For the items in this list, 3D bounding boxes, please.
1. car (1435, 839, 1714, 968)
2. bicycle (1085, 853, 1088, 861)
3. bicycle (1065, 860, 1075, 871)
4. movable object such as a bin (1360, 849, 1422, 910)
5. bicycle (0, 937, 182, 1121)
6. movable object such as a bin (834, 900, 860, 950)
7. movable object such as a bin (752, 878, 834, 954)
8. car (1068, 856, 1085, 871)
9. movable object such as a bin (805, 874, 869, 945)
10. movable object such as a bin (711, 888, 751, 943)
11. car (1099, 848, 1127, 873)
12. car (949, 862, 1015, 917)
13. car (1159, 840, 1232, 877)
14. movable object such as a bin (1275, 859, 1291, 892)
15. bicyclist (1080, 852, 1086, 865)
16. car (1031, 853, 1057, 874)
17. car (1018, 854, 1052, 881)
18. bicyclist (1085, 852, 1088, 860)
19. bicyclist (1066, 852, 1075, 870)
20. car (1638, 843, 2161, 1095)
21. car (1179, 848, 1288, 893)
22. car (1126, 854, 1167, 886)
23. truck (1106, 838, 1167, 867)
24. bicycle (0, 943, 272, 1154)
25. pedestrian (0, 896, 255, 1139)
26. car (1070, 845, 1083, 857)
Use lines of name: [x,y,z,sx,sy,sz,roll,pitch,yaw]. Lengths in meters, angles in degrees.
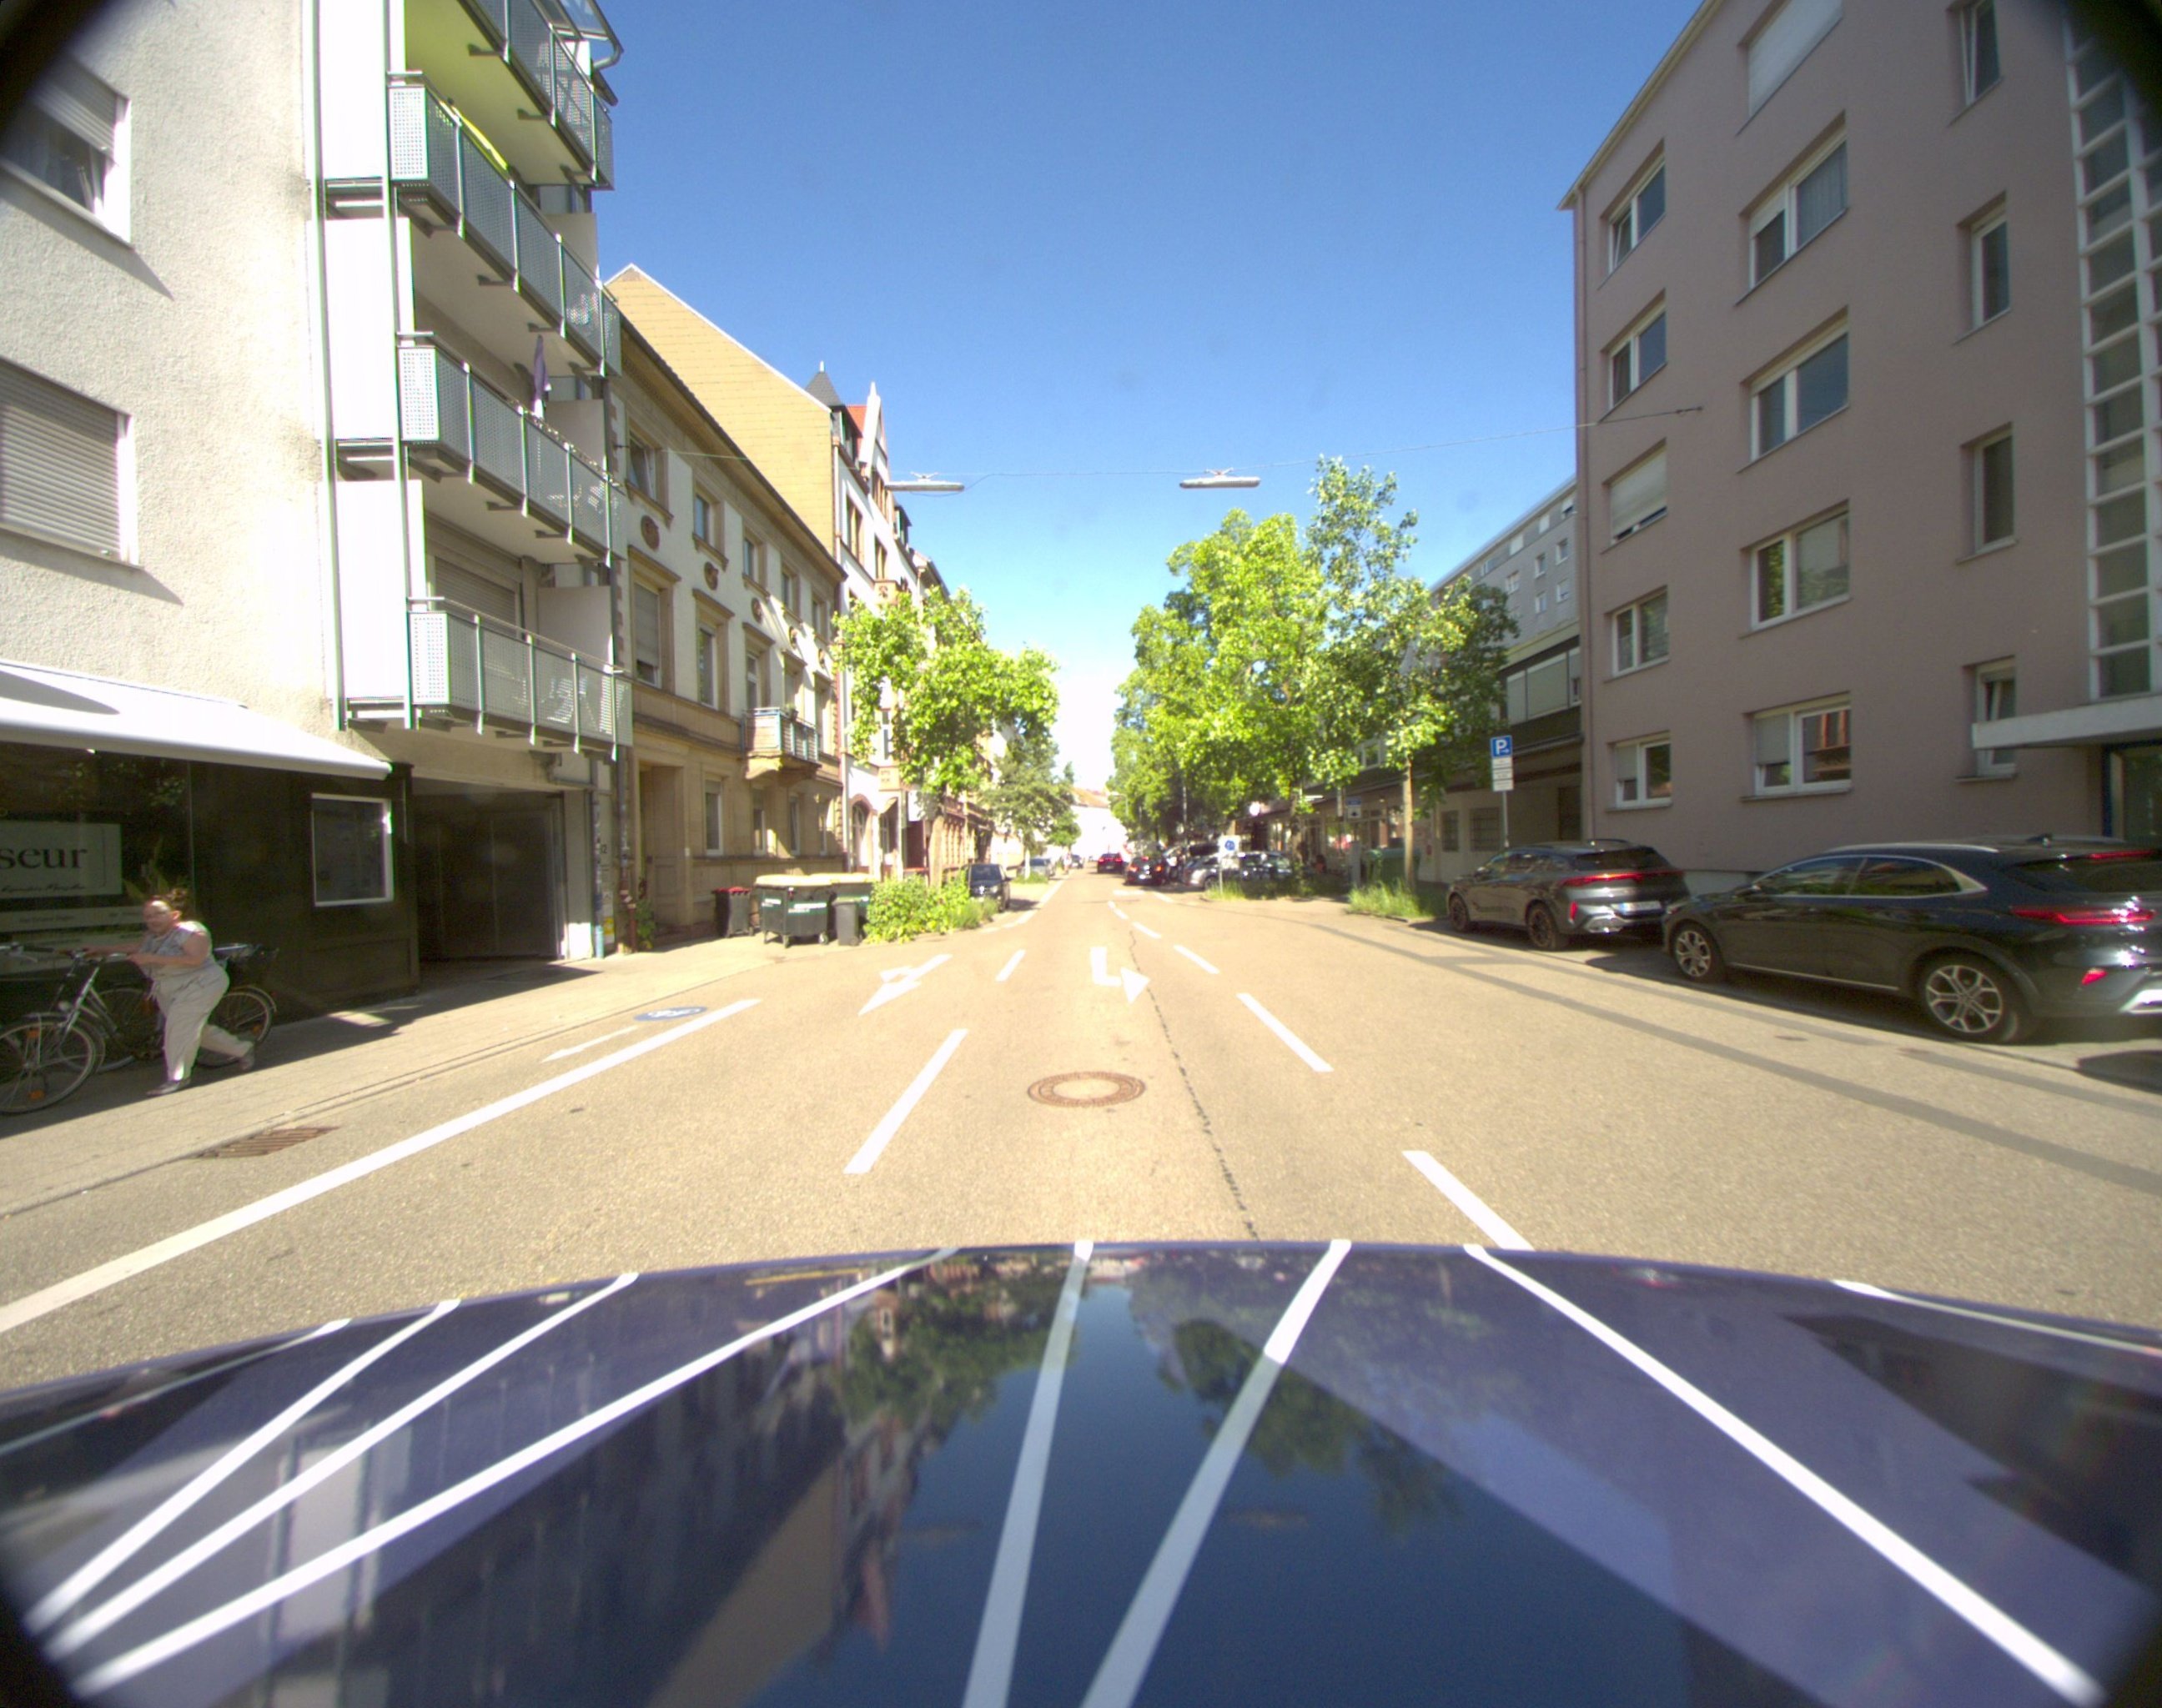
car: [7.584,0.654,12.261,1.821,1.583,4.141,-5,0,2]
bicycle: [0.906,0.508,127.413,0.422,1.292,1.762,-2,0,0]
bicycle: [-0.849,0.897,58.733,0.612,0.876,1.813,-1,-1,-3]
movable object such as a bin: [8.128,0.646,19.997,1.247,1.536,1.019,-2,1,5]
bicycle: [-7.752,1.285,5.450,0.402,1.171,1.792,-2,0,1]
movable object such as a bin: [-4.585,1.389,14.893,0.401,0.916,0.484,0,2,-7]
movable object such as a bin: [-5.595,1.166,14.781,1.212,1.318,1.052,2,3,42]
car: [-0.449,0.969,79.395,1.653,1.447,3.290,-2,0,1]
movable object such as a bin: [-5.092,1.129,15.858,0.960,1.341,1.066,-1,2,-38]
movable object such as a bin: [-7.325,1.277,15.897,0.615,1.075,0.568,2,3,42]
car: [2.356,0.449,57.038,1.994,1.599,4.259,-3,3,1]
car: [-2.975,1.020,23.369,1.551,1.483,3.351,-2,0,0]
car: [6.700,0.278,44.780,3.997,2.020,2.000,-2,1,1]
movable object such as a bin: [7.614,0.795,28.679,0.488,1.218,0.409,-2,1,1]
bicyclist: [0.234,0.556,98.585,0.748,1.588,0.613,-3,1,1]
car: [-2.638,0.667,55.207,1.653,1.483,3.290,-2,0,0]
car: [-2.751,0.777,45.892,1.759,1.492,3.949,-2,0,0]
bicyclist: [0.911,0.300,127.468,0.417,1.415,0.324,-2,1,1]
bicyclist: [-0.818,0.525,58.607,0.610,1.338,1.018,-2,0,-5]
car: [7.510,0.714,6.920,1.821,1.499,4.245,-4,0,2]
car: [6.082,0.646,30.673,3.997,1.665,2.000,-2,1,1]
car: [3.221,0.759,37.972,1.867,1.455,4.000,-2,0,3]
truck: [5.208,-0.159,71.609,5.322,2.581,1.998,-2,1,-9]
bicycle: [-7.002,1.321,5.468,0.402,1.126,1.792,2,1,1]
pedestrian: [-6.929,1.112,5.510,0.825,1.529,0.946,2,1,1]
car: [-0.756,-0.521,126.500,1.998,2.002,4.000,-2,0,1]
